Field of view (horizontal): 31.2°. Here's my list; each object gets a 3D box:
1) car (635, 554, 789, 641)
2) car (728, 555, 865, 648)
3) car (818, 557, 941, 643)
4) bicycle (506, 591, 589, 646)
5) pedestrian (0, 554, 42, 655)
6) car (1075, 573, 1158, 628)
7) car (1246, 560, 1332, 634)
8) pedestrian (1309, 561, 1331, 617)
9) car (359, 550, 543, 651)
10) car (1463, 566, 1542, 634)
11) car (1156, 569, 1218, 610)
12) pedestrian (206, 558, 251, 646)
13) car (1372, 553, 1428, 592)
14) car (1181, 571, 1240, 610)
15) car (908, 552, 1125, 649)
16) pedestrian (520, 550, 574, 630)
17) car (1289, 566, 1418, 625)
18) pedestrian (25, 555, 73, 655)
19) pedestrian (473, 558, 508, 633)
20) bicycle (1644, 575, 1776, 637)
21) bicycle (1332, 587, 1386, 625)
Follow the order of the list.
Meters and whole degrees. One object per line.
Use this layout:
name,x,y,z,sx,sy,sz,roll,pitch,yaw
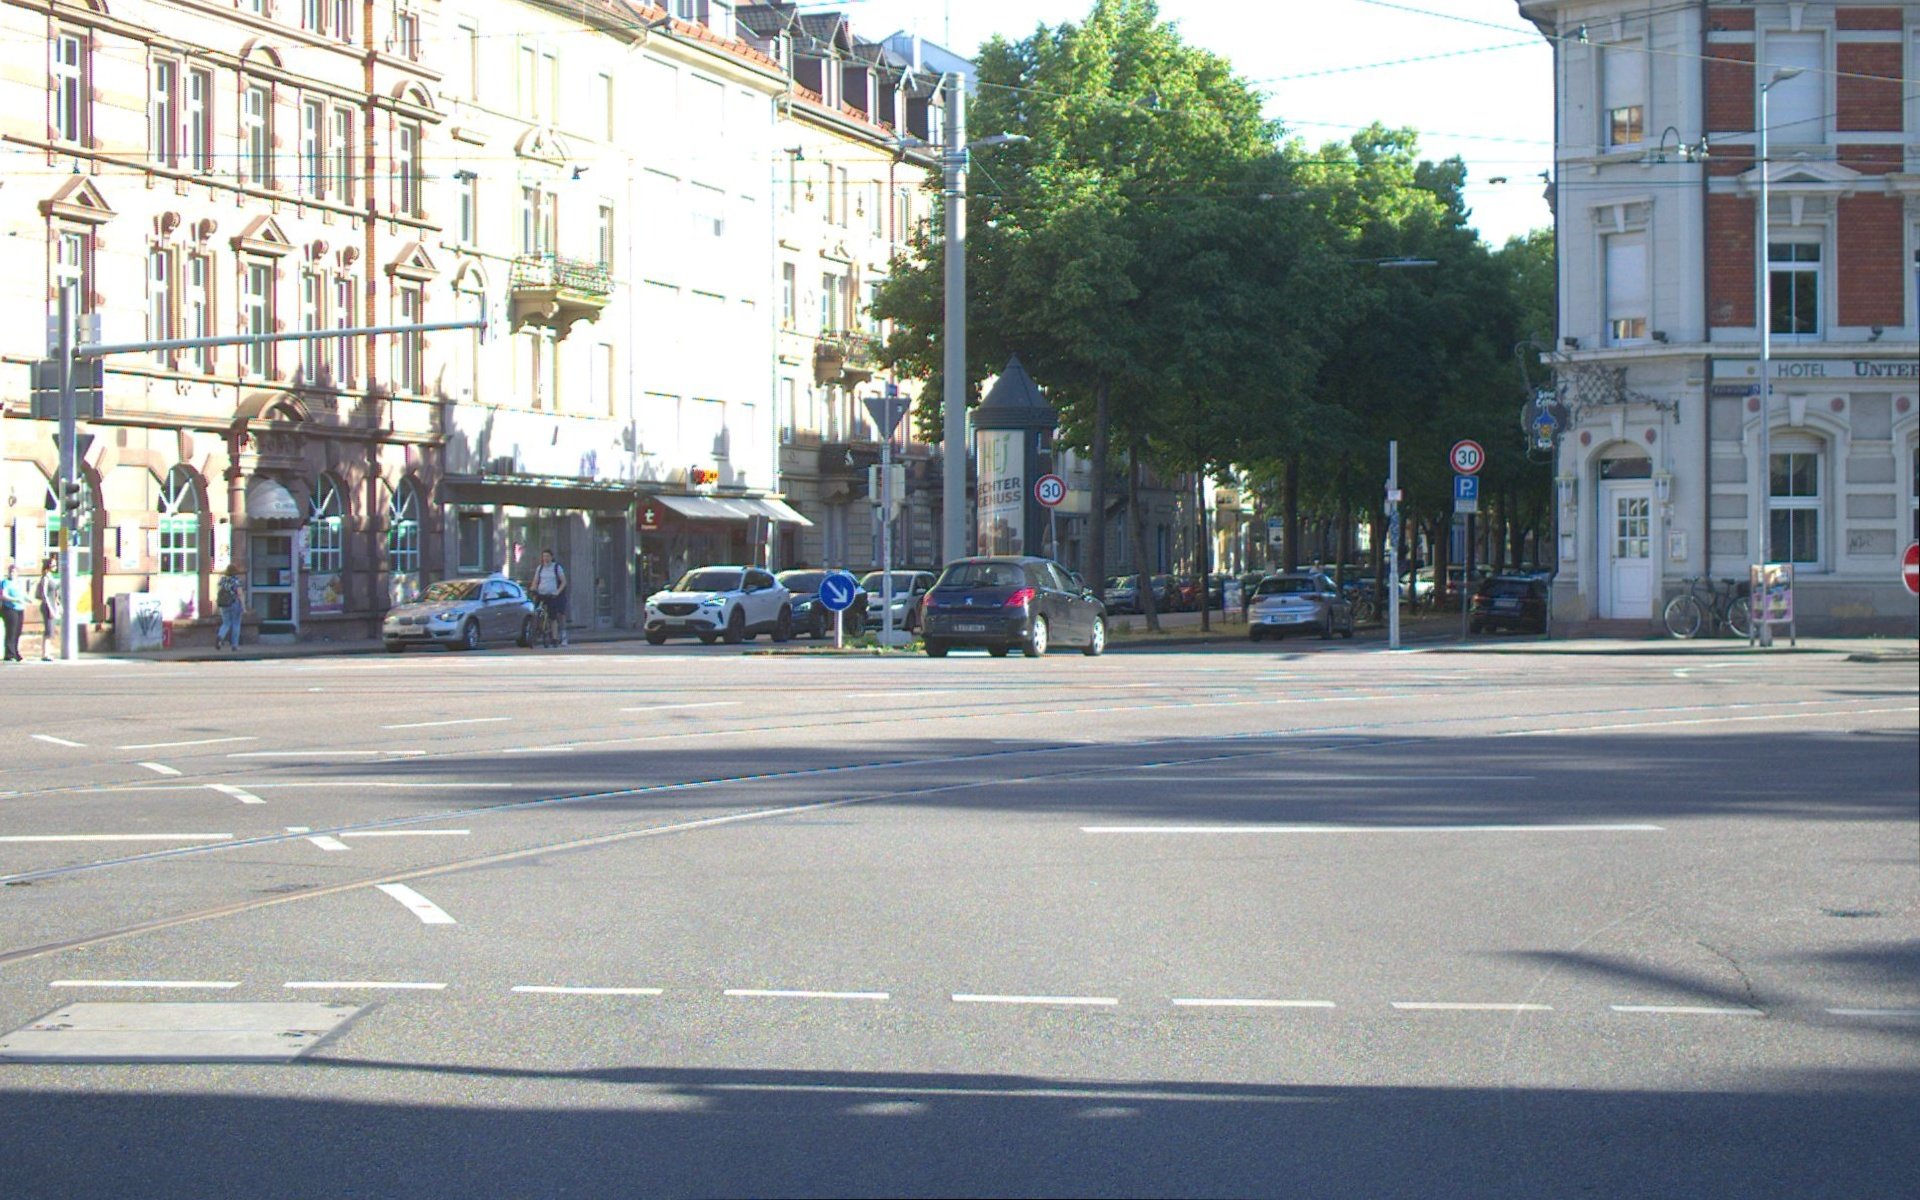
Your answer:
car,-4.811,-0.068,67.213,1.994,1.612,3.998,1,1,11
car,-3.472,0.017,73.694,1.994,1.897,3.998,1,1,11
car,-1.838,-0.019,79.539,1.994,1.897,3.998,1,1,11
bicycle,-7.819,0.338,65.294,0.763,1.004,2.395,1,1,13
pedestrian,-15.337,0.074,55.912,0.633,1.628,0.701,1,0,-4
car,5.601,-0.002,122.572,1.995,1.897,3.997,1,1,17
car,7.073,-0.091,74.071,1.772,1.525,3.999,1,1,5
pedestrian,11.628,-0.351,110.975,0.640,1.790,0.490,1,0,12
car,-9.891,-0.005,67.108,1.995,1.897,3.997,1,1,17
car,13.064,-0.021,82.599,1.692,1.559,3.839,1,1,11
car,8.736,-0.408,131.982,1.560,1.508,3.653,1,1,17
pedestrian,-13.649,0.043,64.155,0.544,1.626,0.706,1,0,13
car,17.243,-1.071,134.598,1.560,1.508,3.653,1,1,17
car,9.962,-0.367,136.409,1.560,1.508,3.653,1,1,17
car,0.885,-0.008,51.060,1.756,1.357,3.850,1,1,26
pedestrian,-7.833,-0.189,65.215,0.821,1.507,0.598,1,0,15
car,13.158,-0.167,114.980,3.990,1.897,1.998,1,0,16
pedestrian,-15.131,0.078,57.088,0.633,1.628,0.701,1,0,-4
pedestrian,-10.295,-0.096,75.397,0.544,1.626,0.706,1,0,13
bicycle,12.447,0.101,57.099,2.049,0.994,0.630,1,0,3
bicycle,11.502,0.166,99.077,0.626,1.081,1.703,1,1,-31
